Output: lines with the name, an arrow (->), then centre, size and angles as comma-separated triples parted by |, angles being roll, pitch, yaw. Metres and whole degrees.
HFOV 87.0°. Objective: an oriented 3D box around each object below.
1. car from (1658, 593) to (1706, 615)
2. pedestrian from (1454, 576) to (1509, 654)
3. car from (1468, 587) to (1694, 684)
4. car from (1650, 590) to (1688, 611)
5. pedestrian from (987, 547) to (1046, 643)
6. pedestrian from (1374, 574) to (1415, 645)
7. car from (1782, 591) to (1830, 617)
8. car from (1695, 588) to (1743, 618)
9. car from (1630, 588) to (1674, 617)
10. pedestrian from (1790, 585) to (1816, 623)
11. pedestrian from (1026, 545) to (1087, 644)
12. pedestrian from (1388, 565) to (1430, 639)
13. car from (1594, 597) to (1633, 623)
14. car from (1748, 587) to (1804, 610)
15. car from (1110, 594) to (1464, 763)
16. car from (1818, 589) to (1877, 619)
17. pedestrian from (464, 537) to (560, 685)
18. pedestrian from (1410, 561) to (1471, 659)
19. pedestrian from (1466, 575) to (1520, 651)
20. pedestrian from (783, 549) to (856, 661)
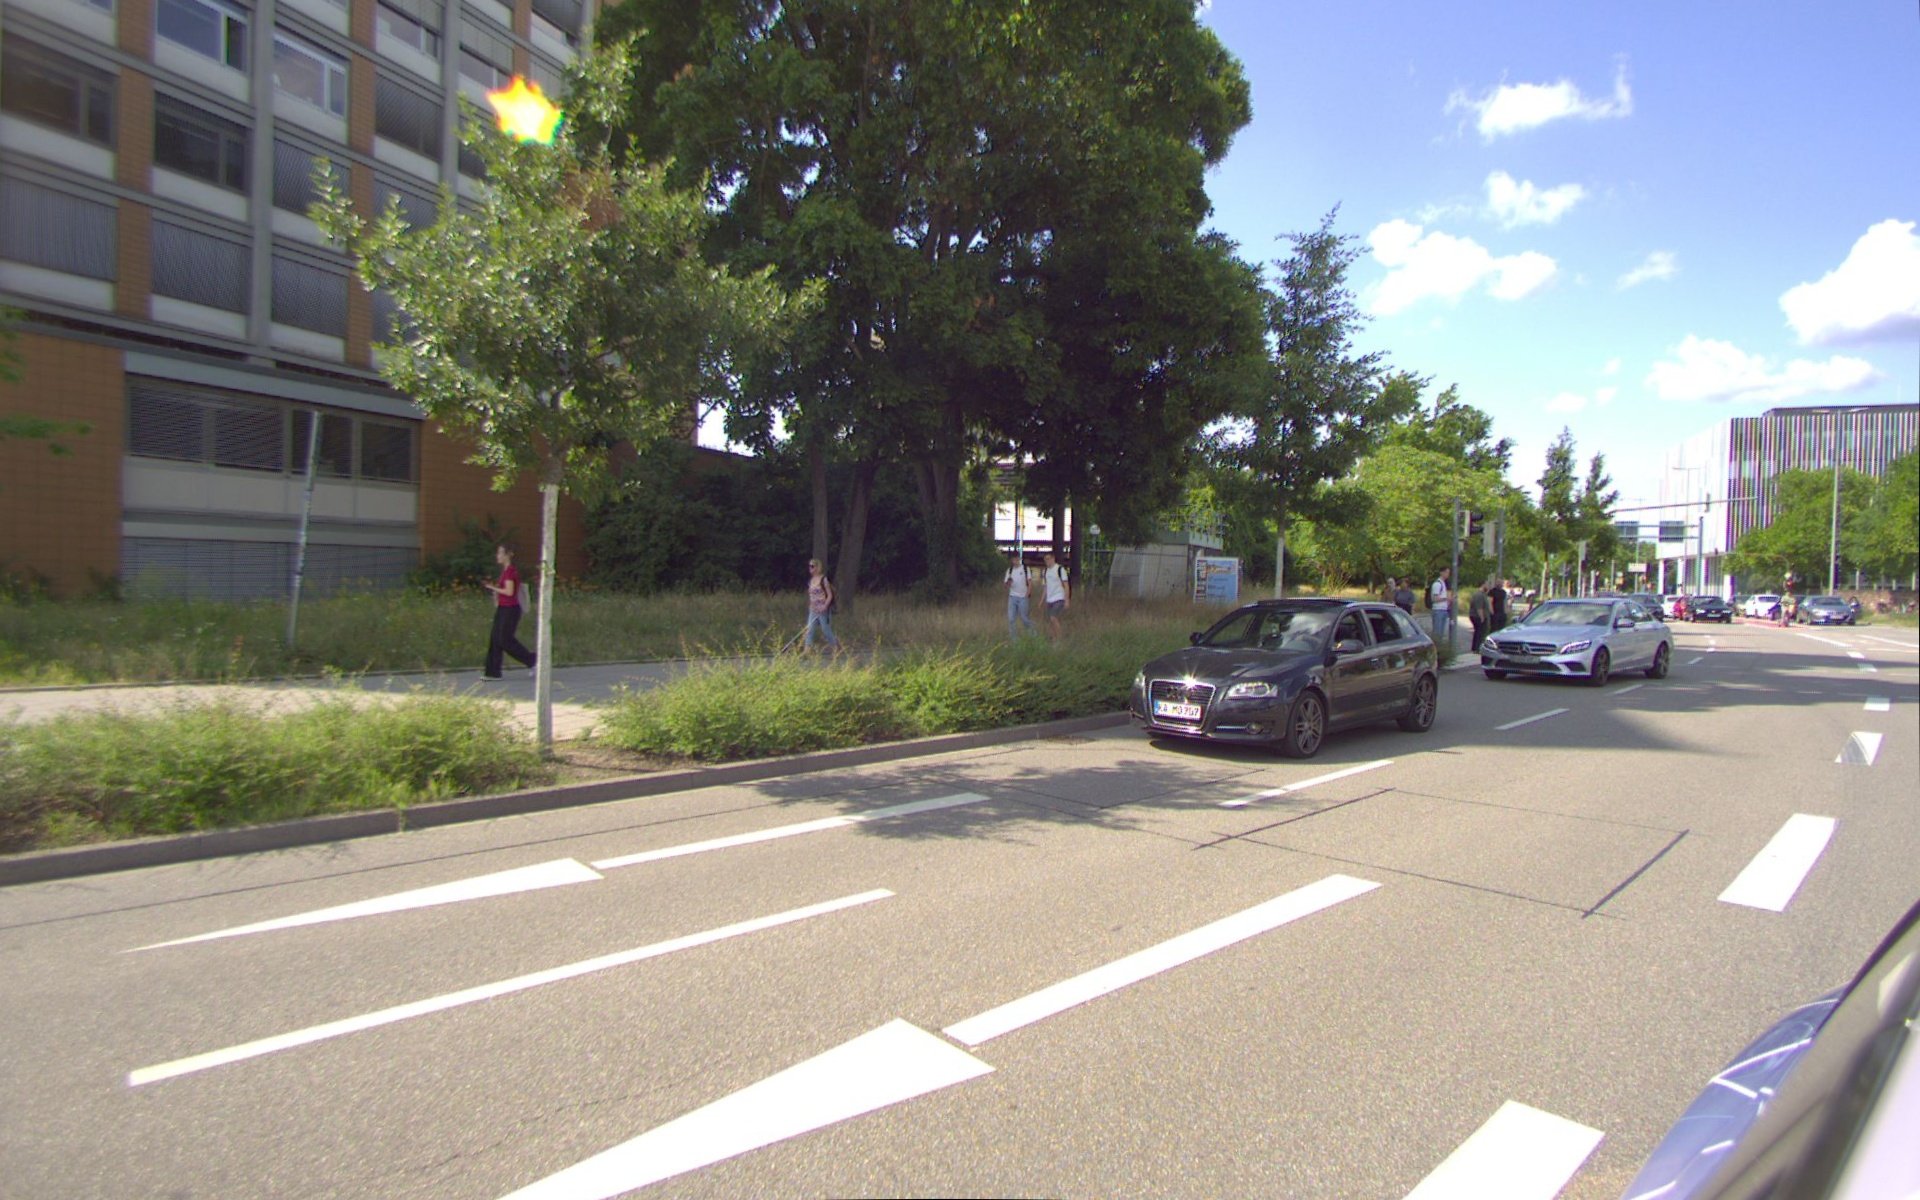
car -> 41.416, 0.198, 58.112 | 1.582, 1.148, 3.597 | 1, 1, 25
pedestrian -> 12.088, 0.325, 23.467 | 0.755, 1.757, 0.926 | 0, 0, -43
car -> 11.085, 0.532, 17.929 | 4.673, 1.473, 1.935 | 0, 1, -39
car -> 44.727, -0.012, 63.838 | 1.898, 1.148, 4.052 | 1, 3, 35
pedestrian -> 1.058, -0.101, 18.843 | 0.614, 1.720, 0.876 | 5, 4, 44
pedestrian -> 10.930, 0.224, 25.436 | 0.765, 1.757, 0.708 | 0, 0, 41
car -> 47.059, 0.204, 56.353 | 1.722, 1.351, 3.742 | 0, 1, 35
car -> 39.846, 0.114, 53.197 | 1.815, 1.481, 3.951 | 1, 1, 34
car -> 36.790, 0.102, 53.788 | 1.816, 1.481, 3.948 | 1, 1, 36
pedestrian -> 39.506, 0.183, 47.438 | 0.731, 1.736, 0.868 | 0, 0, 27
pedestrian -> 1.757, -0.111, 18.367 | 0.614, 1.720, 0.876 | 5, 4, 44
pedestrian -> 10.880, 0.033, 24.517 | 0.765, 1.757, 0.708 | 0, 0, 41
car -> 39.211, 0.570, 60.727 | 1.815, 1.481, 3.950 | 1, 1, 35
car -> 50.495, -0.103, 62.686 | 1.761, 1.371, 3.966 | 0, 1, 25
car -> 3.536, 0.653, 10.571 | 4.061, 1.389, 1.701 | 0, 1, -42
car -> 43.821, 0.164, 50.048 | 1.990, 1.393, 4.210 | 1, 1, 39
pedestrian -> -5.266, 0.107, 11.887 | 0.874, 1.642, 0.615 | 0, 4, -41
pedestrian -> 10.290, 0.192, 21.664 | 0.755, 2.039, 0.963 | 0, 0, -43
pedestrian -> 12.642, 0.297, 23.995 | 0.755, 1.757, 0.926 | 0, 0, -43
pedestrian -> -2.171, 0.060, 15.643 | 0.614, 1.642, 0.876 | 5, 4, 44
